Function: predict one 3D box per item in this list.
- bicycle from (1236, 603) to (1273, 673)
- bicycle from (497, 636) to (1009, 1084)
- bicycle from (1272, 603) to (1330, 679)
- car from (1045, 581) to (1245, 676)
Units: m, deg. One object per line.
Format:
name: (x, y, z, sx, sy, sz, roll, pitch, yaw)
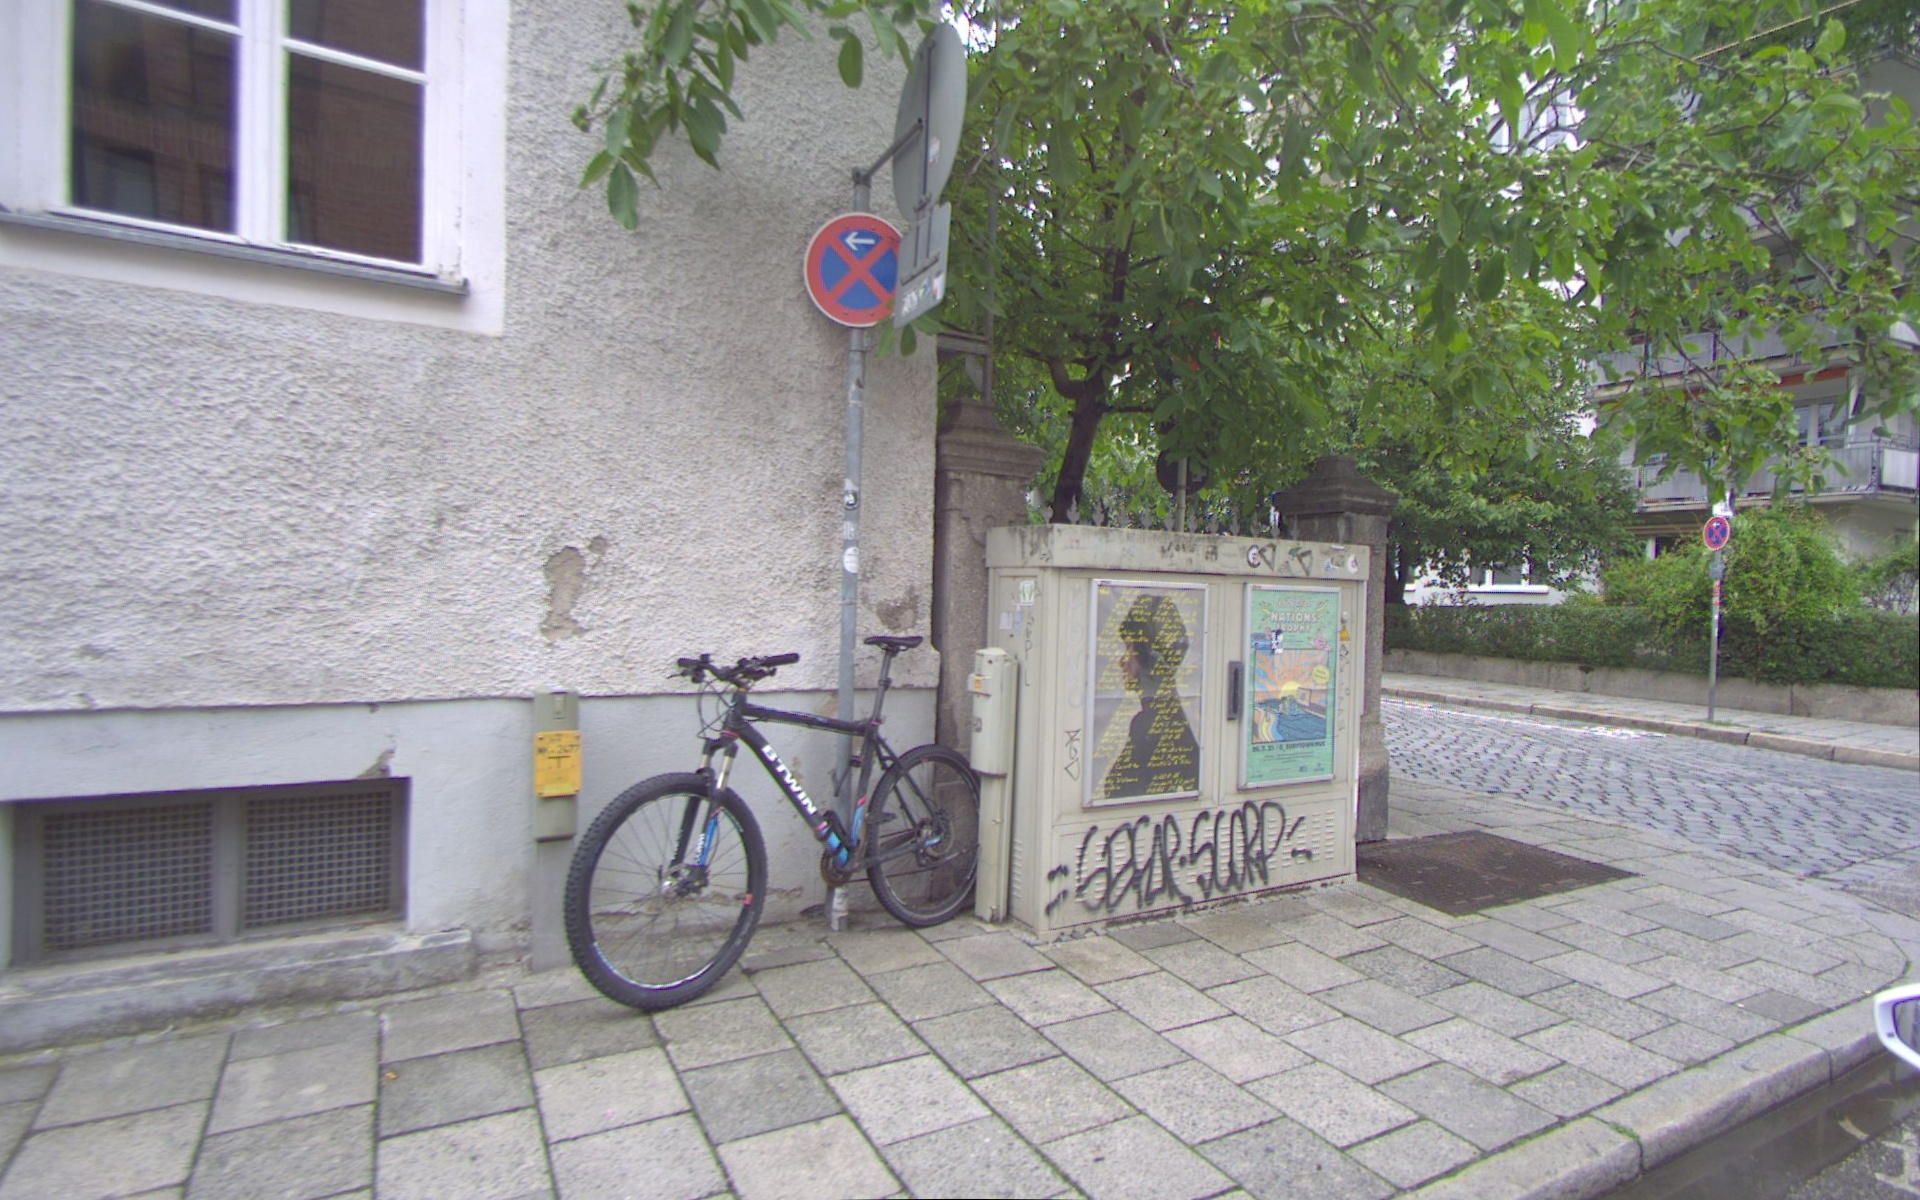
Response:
bicycle: (5.819, 0.718, 19.921, 0.576, 1.260, 2.167, 2, 1, 14)
bicycle: (-0.584, 0.709, 3.429, 0.467, 1.126, 1.750, 3, 1, 42)
bicycle: (6.495, 0.745, 19.226, 0.675, 1.260, 2.307, 2, 2, 10)
car: (3.604, 0.515, 20.251, 1.744, 1.666, 4.023, 4, -1, -30)
